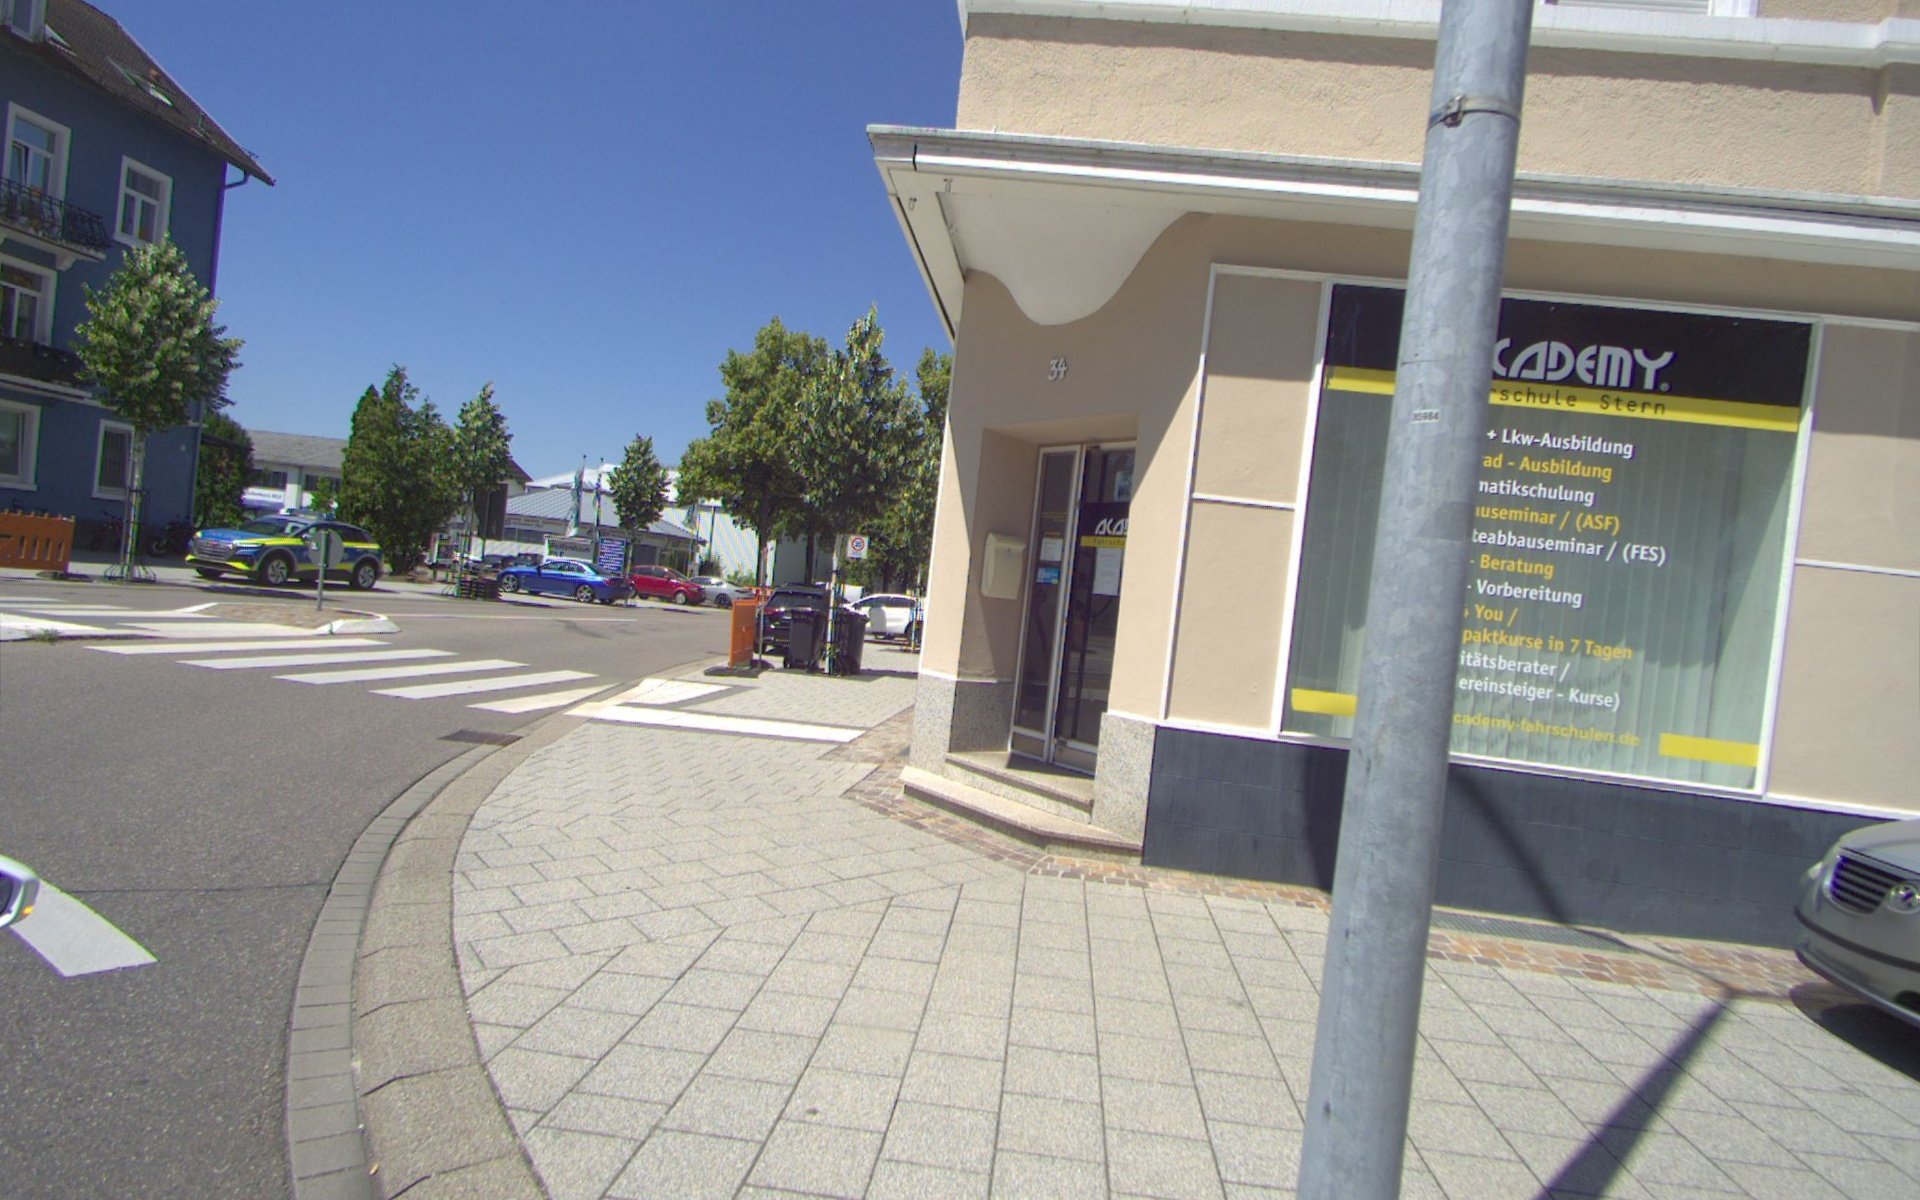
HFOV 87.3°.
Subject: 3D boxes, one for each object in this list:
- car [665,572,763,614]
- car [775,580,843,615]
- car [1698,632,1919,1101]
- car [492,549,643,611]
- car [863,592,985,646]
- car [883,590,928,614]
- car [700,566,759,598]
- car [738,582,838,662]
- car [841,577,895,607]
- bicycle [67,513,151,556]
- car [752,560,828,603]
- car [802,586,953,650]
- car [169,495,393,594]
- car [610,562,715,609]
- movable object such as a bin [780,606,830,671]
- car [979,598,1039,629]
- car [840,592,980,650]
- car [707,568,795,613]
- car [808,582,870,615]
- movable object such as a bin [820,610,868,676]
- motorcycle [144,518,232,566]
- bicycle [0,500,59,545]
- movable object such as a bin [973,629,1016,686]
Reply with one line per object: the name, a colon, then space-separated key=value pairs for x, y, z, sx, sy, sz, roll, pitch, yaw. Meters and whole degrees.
car: x=-11.579 y=-0.301 z=47.485 sx=3.924 sy=1.465 sz=2.001 roll=7 pitch=0 yaw=7
car: x=-10.047 y=-0.184 z=67.247 sx=3.924 sy=1.885 sz=1.999 roll=7 pitch=3 yaw=7
car: x=5.626 y=1.164 z=3.473 sx=4.601 sy=1.550 sz=1.769 roll=6 pitch=1 yaw=4
car: x=-13.639 y=-0.678 z=35.128 sx=4.385 sy=1.496 sz=1.909 roll=7 pitch=-3 yaw=4
car: x=-1.315 y=0.719 z=37.872 sx=4.213 sy=1.596 sz=1.907 roll=5 pitch=0 yaw=8
car: x=-5.270 y=0.209 z=98.191 sx=3.924 sy=1.885 sz=1.999 roll=7 pitch=3 yaw=7
car: x=-18.359 y=-1.427 z=80.098 sx=3.924 sy=1.881 sz=2.002 roll=8 pitch=-1 yaw=9
car: x=-3.732 y=0.438 z=22.201 sx=1.873 sy=1.454 sz=4.166 roll=5 pitch=0 yaw=-8
car: x=-7.353 y=-0.659 z=81.039 sx=3.925 sy=1.885 sz=1.998 roll=7 pitch=3 yaw=2
bicycle: x=-22.389 y=-1.711 z=26.496 sx=0.472 sy=0.918 sz=1.714 roll=8 pitch=0 yaw=8
car: x=-10.248 y=-1.119 z=60.930 sx=3.923 sy=2.037 sz=2.002 roll=6 pitch=-1 yaw=8
car: x=-2.505 y=0.539 z=30.968 sx=4.213 sy=1.542 sz=1.907 roll=5 pitch=0 yaw=8
car: x=-15.867 y=-1.221 z=23.836 sx=1.870 sy=1.764 sz=4.252 roll=8 pitch=0 yaw=8
car: x=-13.326 y=-0.628 z=45.169 sx=3.924 sy=1.549 sz=2.001 roll=7 pitch=0 yaw=7
movable object such as a bin: x=-2.730 y=0.676 z=17.772 sx=0.658 sy=1.068 sz=0.704 roll=4 pitch=0 yaw=3
car: x=4.039 y=1.104 z=82.879 sx=4.653 sy=2.039 sz=2.001 roll=7 pitch=0 yaw=5
car: x=-1.593 y=0.684 z=33.007 sx=4.213 sy=1.454 sz=1.907 roll=5 pitch=0 yaw=8
car: x=-11.063 y=-0.487 z=53.259 sx=3.924 sy=1.805 sz=2.001 roll=7 pitch=0 yaw=11
car: x=-8.721 y=-0.115 z=72.886 sx=3.924 sy=1.885 sz=1.999 roll=7 pitch=3 yaw=7
movable object such as a bin: x=-2.041 y=0.746 z=17.740 sx=0.630 sy=1.068 sz=0.704 roll=6 pitch=1 yaw=3
motorcycle: x=-21.074 y=-1.560 z=27.504 sx=0.576 sy=1.064 sz=1.907 roll=8 pitch=0 yaw=11
bicycle: x=-22.619 y=-1.881 z=23.988 sx=0.472 sy=0.918 sz=1.714 roll=8 pitch=0 yaw=8
movable object such as a bin: x=0.621 y=1.044 z=18.310 sx=0.644 sy=0.947 sz=0.579 roll=5 pitch=1 yaw=-4
